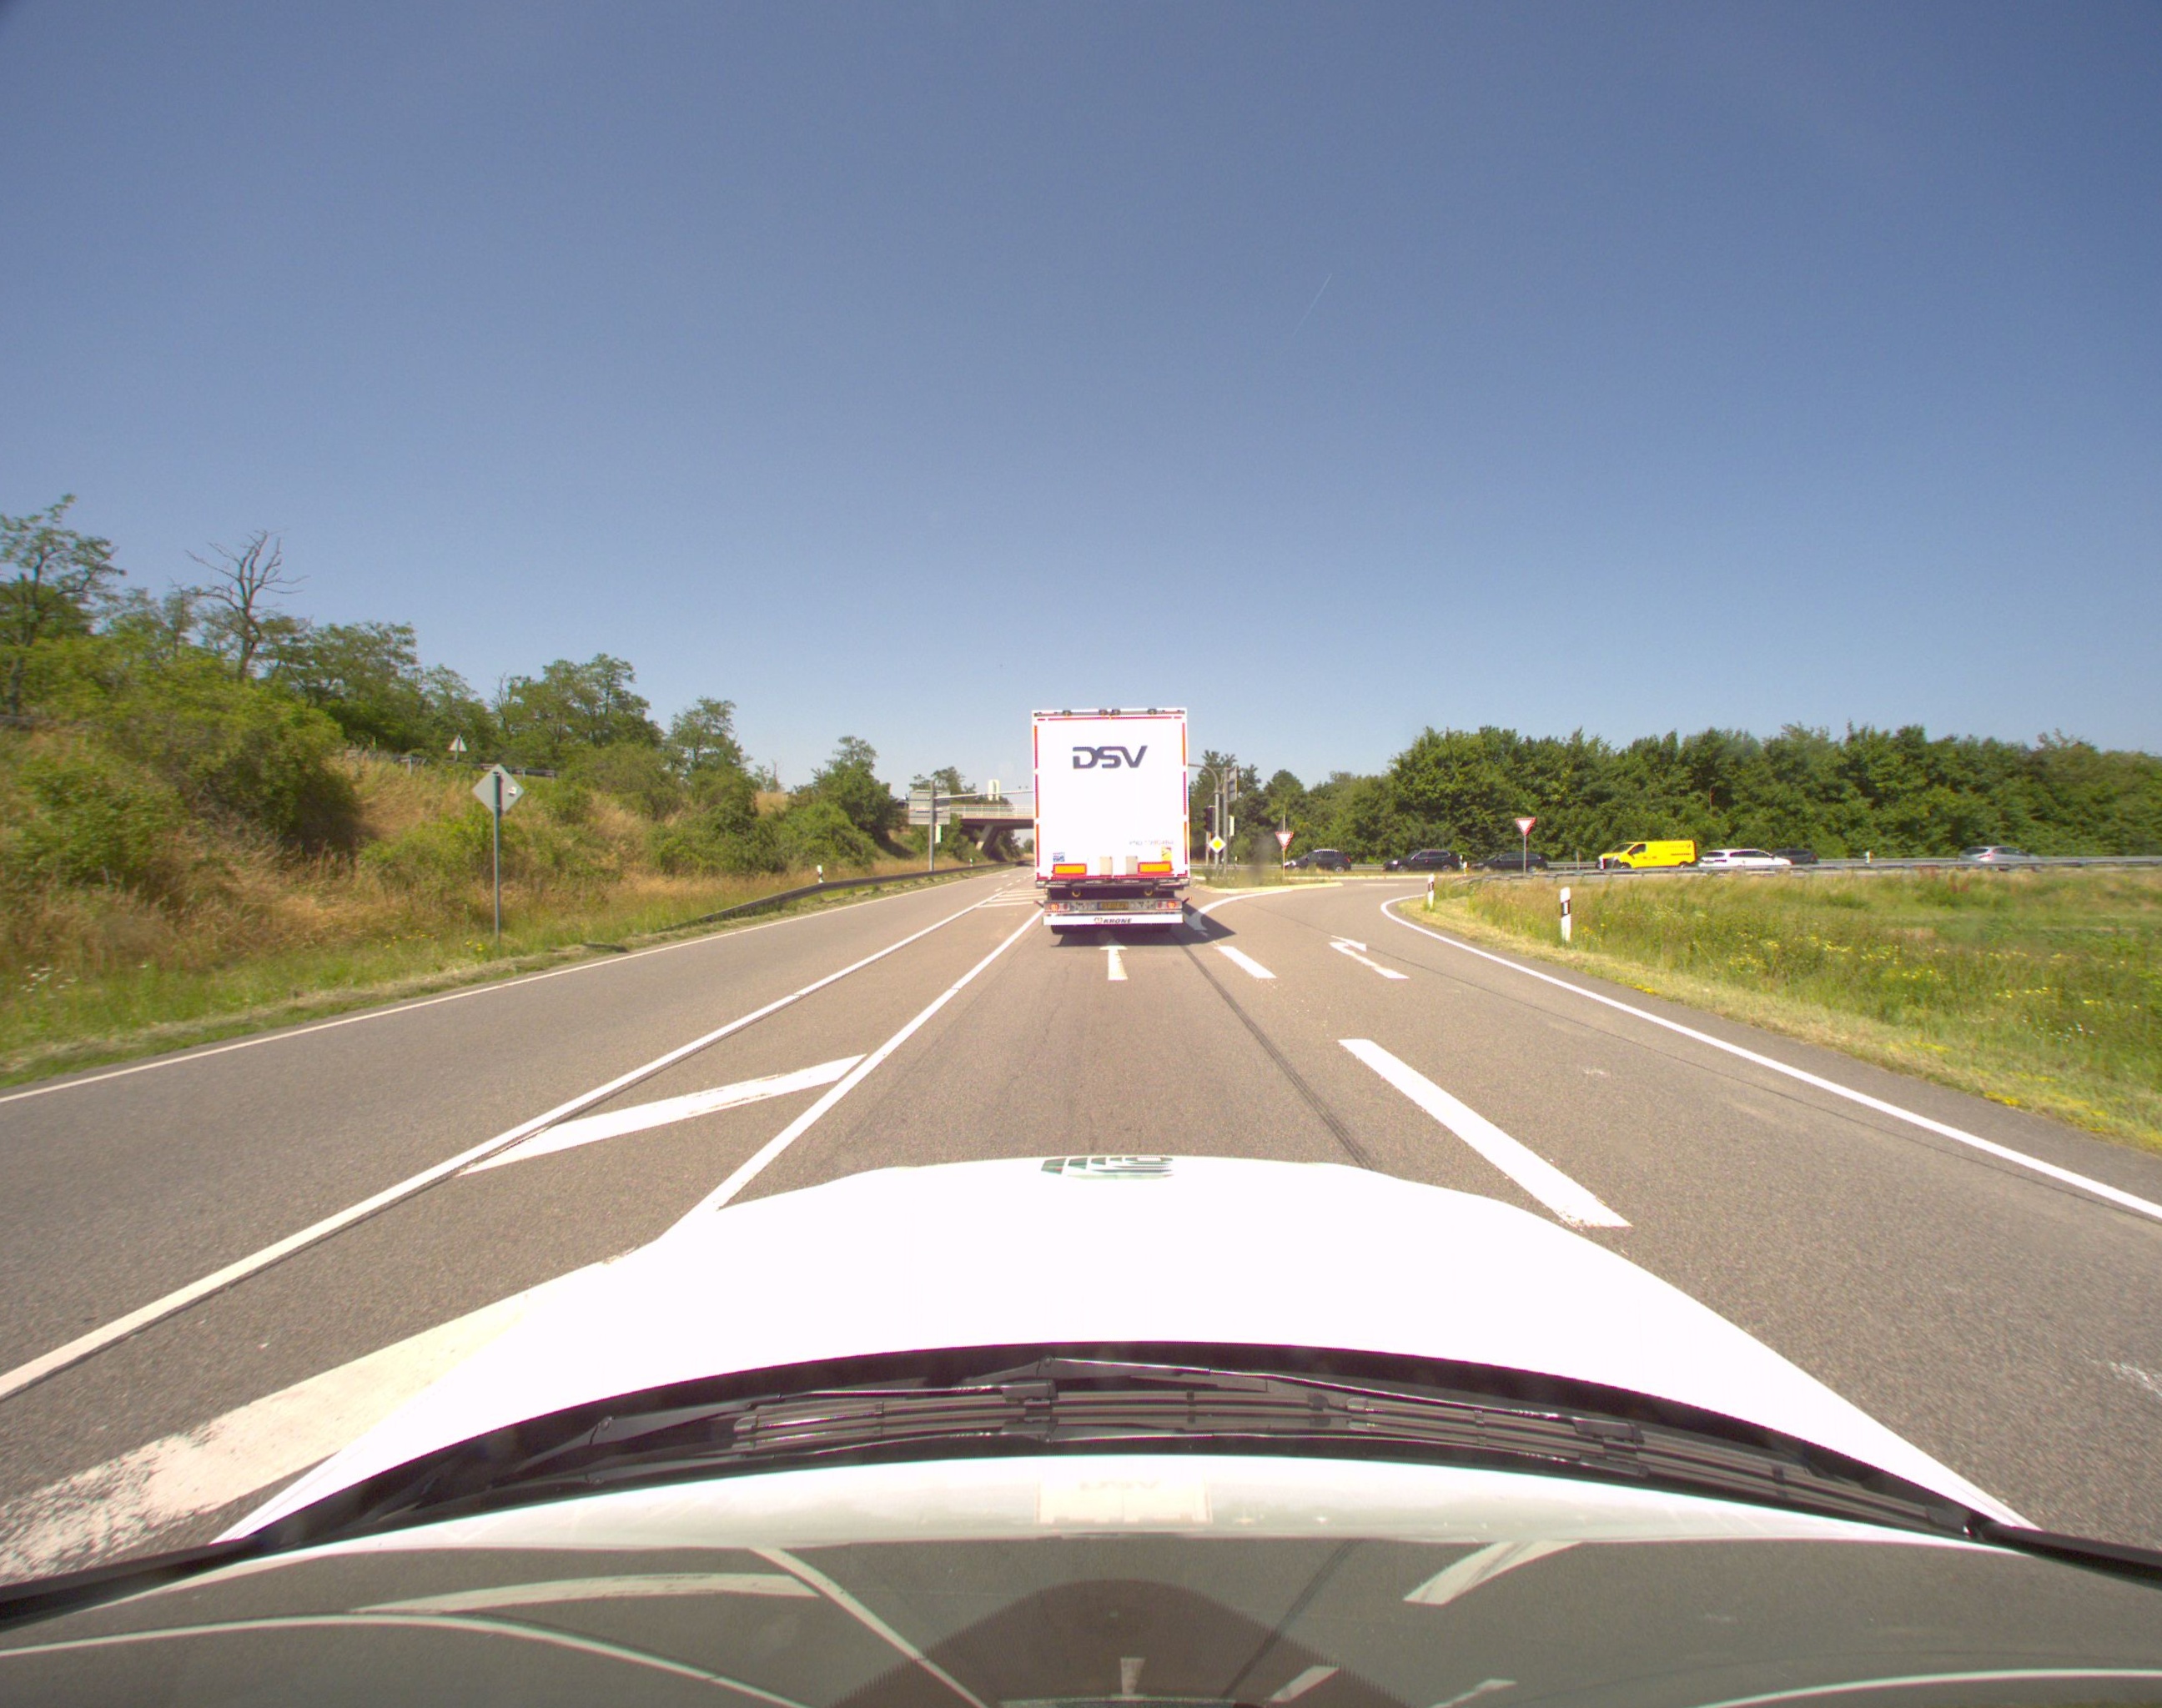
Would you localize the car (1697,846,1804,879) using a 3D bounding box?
[{"bbox_3d":[35.527,0.462,43.240,4.462,1.567,1.736,-2,-1,-6],"label":"car"}]

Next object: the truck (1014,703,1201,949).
[{"bbox_3d":[0.568,-0.428,18.152,2.976,3.942,9.879,-1,0,2],"label":"truck"}]

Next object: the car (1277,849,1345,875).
[{"bbox_3d":[14.716,0.516,52.211,3.964,1.640,1.845,-1,-1,7],"label":"car"}]

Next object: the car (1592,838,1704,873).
[{"bbox_3d":[34.159,0.112,49.173,5.300,2.014,2.002,-1,-1,3],"label":"car"}]

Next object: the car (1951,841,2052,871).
[{"bbox_3d":[50.858,0.135,45.036,3.672,1.567,1.738,-1,-1,-2],"label":"car"}]

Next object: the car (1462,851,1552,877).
[{"bbox_3d":[26.728,0.616,51.197,4.655,1.514,1.858,-1,-1,9],"label":"car"}]

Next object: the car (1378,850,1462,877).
[{"bbox_3d":[20.757,0.585,49.986,4.465,1.598,1.770,-1,-1,4],"label":"car"}]

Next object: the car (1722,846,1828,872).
[{"bbox_3d":[41.704,0.310,49.010,4.661,1.514,1.855,-1,-1,4],"label":"car"}]
